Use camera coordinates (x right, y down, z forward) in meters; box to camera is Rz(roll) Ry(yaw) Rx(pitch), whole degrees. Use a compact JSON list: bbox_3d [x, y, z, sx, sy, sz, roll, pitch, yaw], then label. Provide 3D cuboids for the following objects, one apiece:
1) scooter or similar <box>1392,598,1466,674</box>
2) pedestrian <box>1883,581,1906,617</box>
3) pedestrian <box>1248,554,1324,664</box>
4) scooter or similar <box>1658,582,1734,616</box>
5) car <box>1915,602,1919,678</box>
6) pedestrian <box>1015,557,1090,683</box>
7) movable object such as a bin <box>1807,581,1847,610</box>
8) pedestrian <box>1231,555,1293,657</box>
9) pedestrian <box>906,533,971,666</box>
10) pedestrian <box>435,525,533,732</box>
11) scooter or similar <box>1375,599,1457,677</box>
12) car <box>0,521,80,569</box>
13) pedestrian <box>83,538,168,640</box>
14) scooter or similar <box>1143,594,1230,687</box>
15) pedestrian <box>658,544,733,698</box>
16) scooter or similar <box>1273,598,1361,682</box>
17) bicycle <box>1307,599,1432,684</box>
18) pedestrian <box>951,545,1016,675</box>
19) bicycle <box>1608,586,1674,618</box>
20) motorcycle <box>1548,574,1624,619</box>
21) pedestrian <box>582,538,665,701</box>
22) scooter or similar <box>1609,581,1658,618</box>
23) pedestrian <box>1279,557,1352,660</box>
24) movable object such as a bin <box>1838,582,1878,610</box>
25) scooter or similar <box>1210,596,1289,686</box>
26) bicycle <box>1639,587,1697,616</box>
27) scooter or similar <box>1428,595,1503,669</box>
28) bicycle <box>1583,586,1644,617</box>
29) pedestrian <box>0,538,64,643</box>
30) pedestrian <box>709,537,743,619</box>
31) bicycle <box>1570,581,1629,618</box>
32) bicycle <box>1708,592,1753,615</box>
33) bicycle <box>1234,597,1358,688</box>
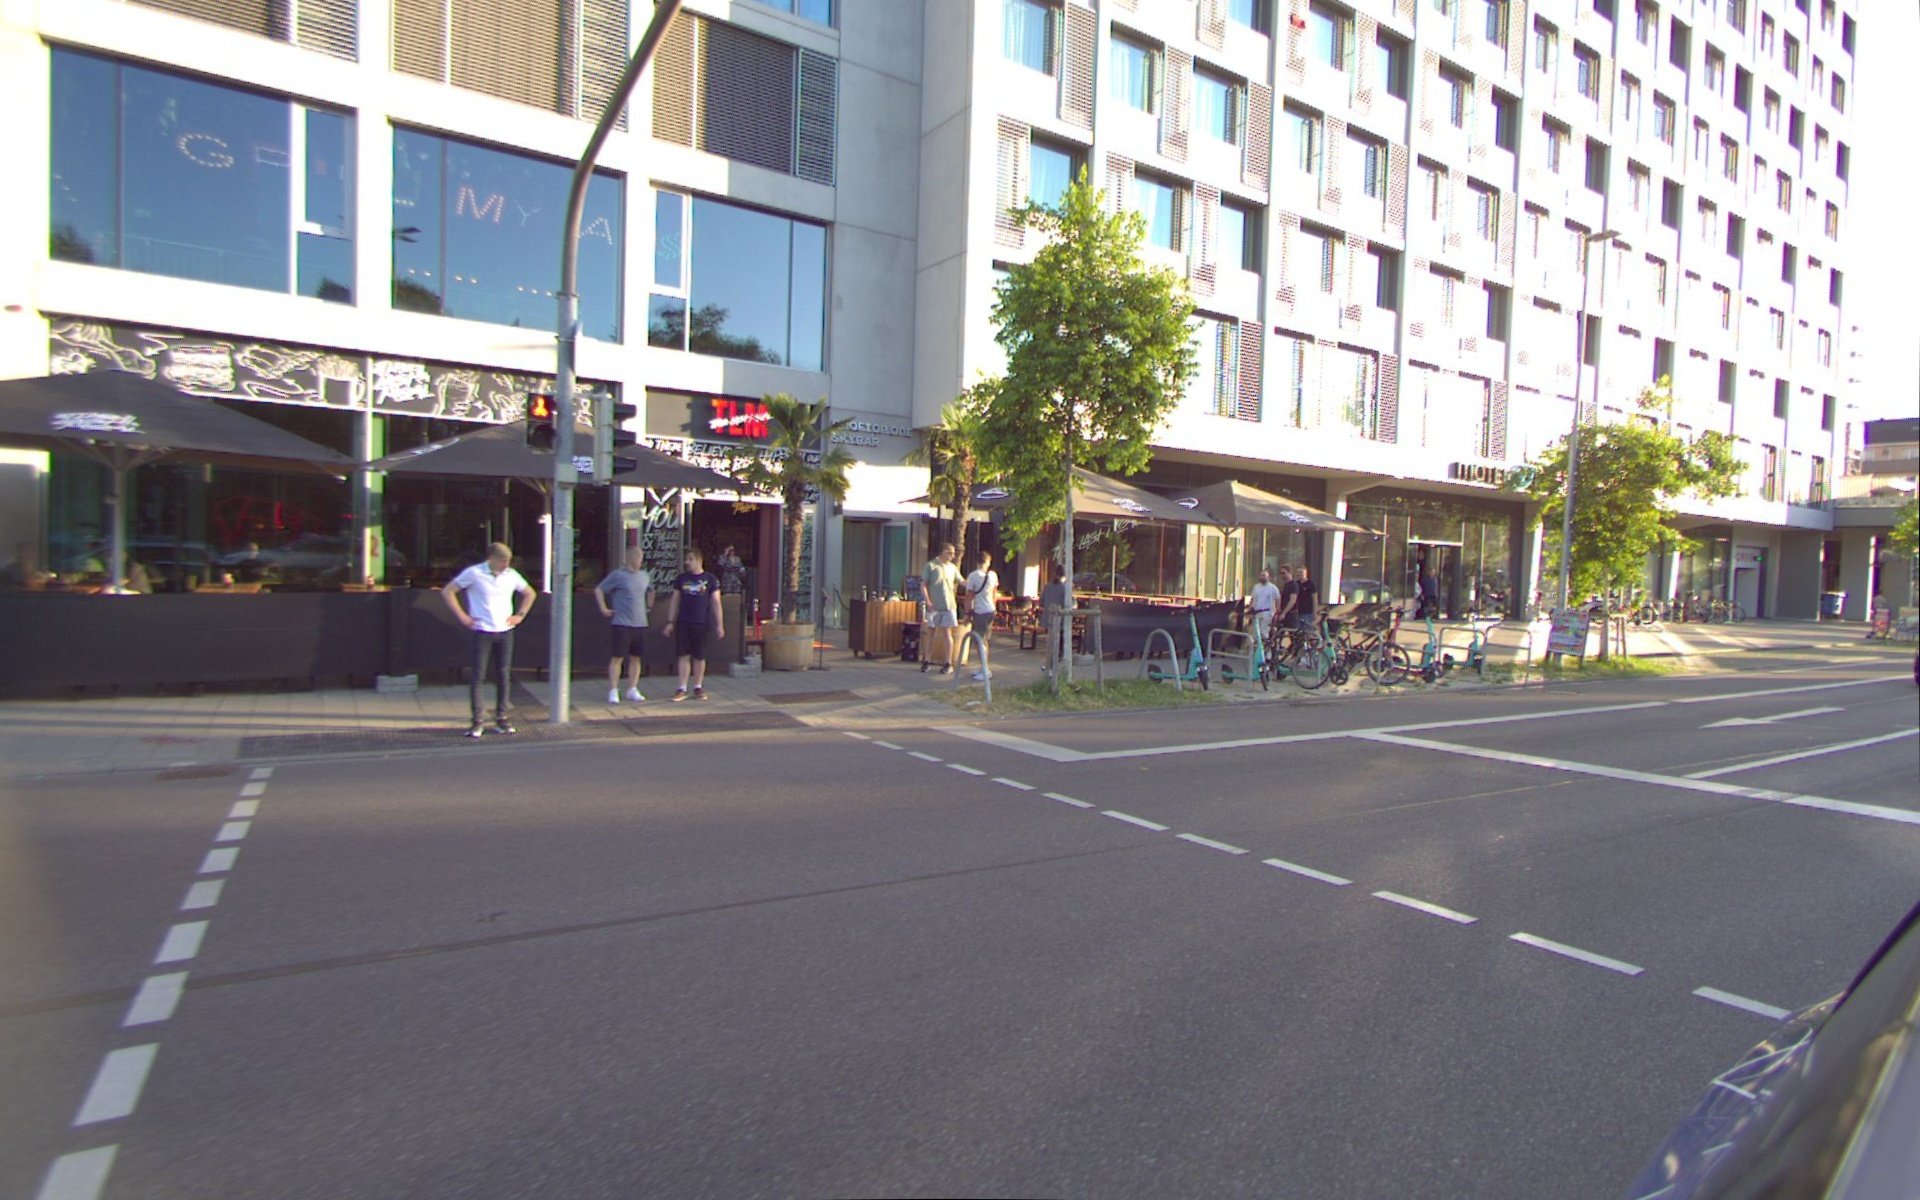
[{"bbox_3d":[8.360,0.625,18.081,0.520,1.228,1.135,0,5,-18],"label":"scooter or similar"},{"bbox_3d":[43.257,-0.047,46.858,0.631,1.638,0.578,1,4,-37],"label":"pedestrian"},{"bbox_3d":[5.849,0.149,18.171,0.921,1.870,0.748,1,5,-24],"label":"pedestrian"},{"bbox_3d":[29.936,-0.066,41.217,0.609,1.197,2.382,1,4,-34],"label":"scooter or similar"},{"bbox_3d":[20.281,0.776,19.397,4.193,1.413,1.918,0,0,-33],"label":"car"},{"bbox_3d":[1.332,0.260,14.602,0.567,1.724,0.855,0,4,-42],"label":"pedestrian"},{"bbox_3d":[42.883,-0.209,50.051,1.258,1.345,1.109,1,4,-34],"label":"movable object such as a bin"},{"bbox_3d":[5.608,0.105,18.803,0.761,1.832,0.622,1,5,-24],"label":"pedestrian"},{"bbox_3d":[-0.310,-0.032,15.230,0.813,1.910,0.865,2,4,8],"label":"pedestrian"},{"bbox_3d":[-4.480,0.245,9.560,0.754,1.870,0.680,1,2,-21],"label":"pedestrian"},{"bbox_3d":[7.896,0.643,17.567,0.500,1.205,1.161,-1,5,-31],"label":"scooter or similar"},{"bbox_3d":[-41.985,-2.468,44.489,4.683,2.012,1.674,1,2,-18],"label":"car"},{"bbox_3d":[-11.595,-0.164,14.084,0.699,1.334,0.750,2,4,-21],"label":"pedestrian"},{"bbox_3d":[3.337,0.571,14.969,0.587,1.238,1.055,0,4,-37],"label":"scooter or similar"},{"bbox_3d":[-3.100,0.223,11.887,0.643,1.722,0.689,3,3,1],"label":"pedestrian"},{"bbox_3d":[5.732,0.622,16.299,0.471,1.216,1.213,0,4,-37],"label":"scooter or similar"},{"bbox_3d":[6.781,0.654,16.863,0.596,1.196,1.855,1,4,-33],"label":"bicycle"},{"bbox_3d":[0.346,0.113,14.695,0.573,1.807,0.820,4,4,31],"label":"pedestrian"},{"bbox_3d":[25.239,0.062,37.530,0.555,1.021,1.893,0,5,-35],"label":"bicycle"},{"bbox_3d":[21.981,-0.133,35.583,2.112,1.403,0.661,6,4,43],"label":"motorcycle"},{"bbox_3d":[-3.825,0.198,11.479,0.674,1.755,0.762,1,4,-34],"label":"pedestrian"},{"bbox_3d":[24.237,-0.028,36.443,0.597,1.248,1.272,1,4,-37],"label":"scooter or similar"},{"bbox_3d":[6.651,0.140,18.951,0.921,1.846,0.761,1,4,-24],"label":"pedestrian"},{"bbox_3d":[46.499,-0.195,52.426,1.242,1.338,1.186,1,5,-35],"label":"movable object such as a bin"},{"bbox_3d":[4.404,0.610,15.441,0.538,1.238,1.068,1,4,-24],"label":"scooter or similar"},{"bbox_3d":[27.357,0.055,39.110,0.540,0.998,1.706,1,4,-36],"label":"bicycle"},{"bbox_3d":[9.484,0.589,19.026,0.524,1.232,1.300,2,4,-10],"label":"scooter or similar"},{"bbox_3d":[23.517,0.051,36.462,0.540,0.998,1.706,1,4,-36],"label":"bicycle"},{"bbox_3d":[-12.476,-0.137,13.469,0.607,1.334,0.616,2,4,-15],"label":"pedestrian"},{"bbox_3d":[-4.716,-0.435,20.378,0.547,1.621,0.452,1,0,-32],"label":"pedestrian"},{"bbox_3d":[22.716,-0.026,35.968,1.608,1.168,0.602,6,5,45],"label":"bicycle"},{"bbox_3d":[32.651,0.128,42.908,0.448,0.902,1.427,1,3,-34],"label":"bicycle"},{"bbox_3d":[5.306,0.639,16.073,0.557,1.208,1.799,0,5,-38],"label":"bicycle"}]
